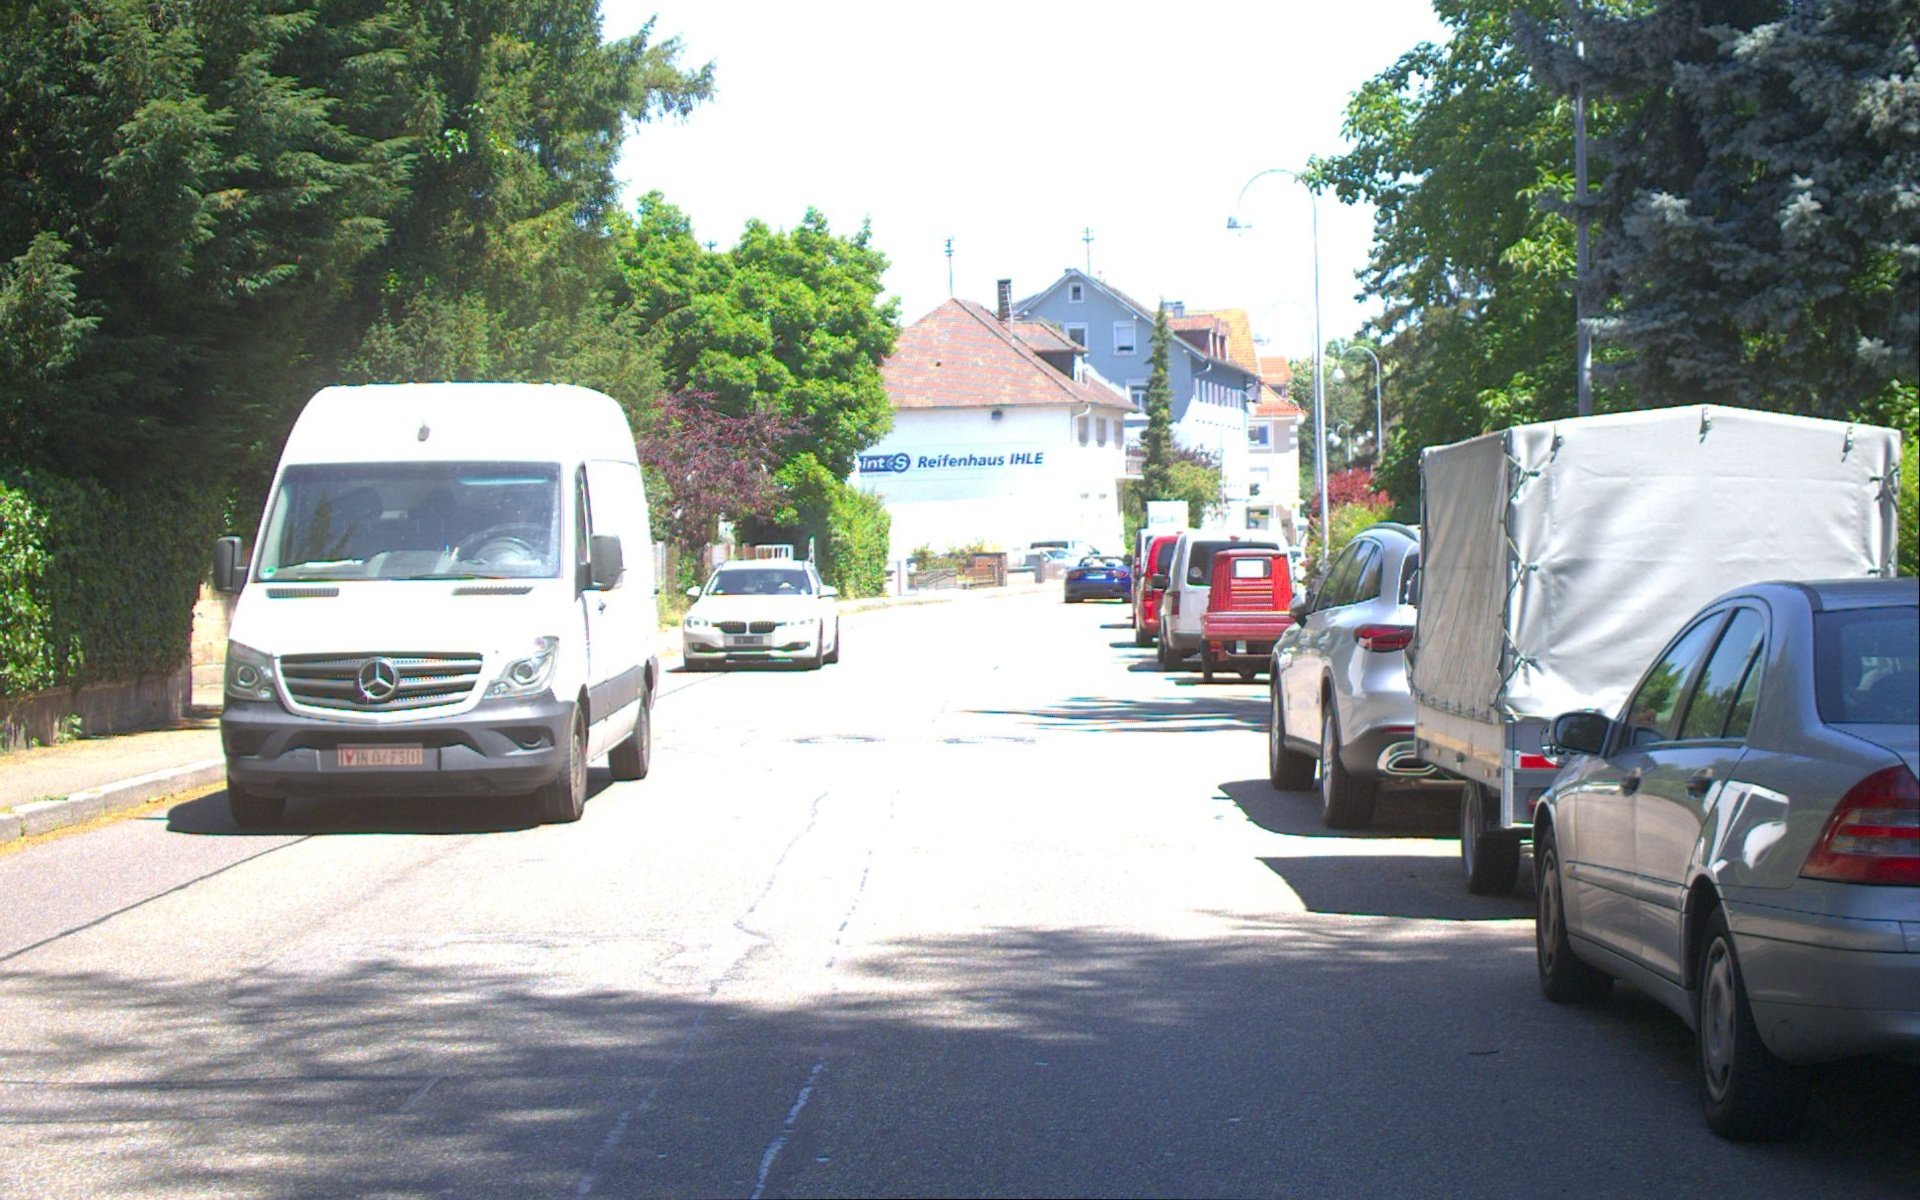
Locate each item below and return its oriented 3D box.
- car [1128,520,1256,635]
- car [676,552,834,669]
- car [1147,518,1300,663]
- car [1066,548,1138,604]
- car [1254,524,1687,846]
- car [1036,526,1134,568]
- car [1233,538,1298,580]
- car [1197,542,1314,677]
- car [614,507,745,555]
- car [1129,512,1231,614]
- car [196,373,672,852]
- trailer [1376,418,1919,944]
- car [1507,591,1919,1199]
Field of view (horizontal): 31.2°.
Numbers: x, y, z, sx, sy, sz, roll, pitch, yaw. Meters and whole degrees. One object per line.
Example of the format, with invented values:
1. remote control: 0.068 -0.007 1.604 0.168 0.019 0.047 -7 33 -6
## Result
1. car: 3.630 -0.376 54.377 1.903 1.722 4.391 1 1 3
2. car: -2.690 0.103 46.090 1.864 1.379 4.605 -2 1 -1
3. car: 3.363 -0.156 44.607 1.746 1.776 4.543 0 1 2
4. car: 3.987 -0.697 95.894 1.794 1.505 3.999 1 1 5
5. car: 2.818 0.388 19.955 1.771 1.626 4.605 0 1 0
6. car: 5.466 -2.312 150.555 4.130 1.768 1.828 0 2 7
7. car: 10.577 -1.436 118.831 1.779 1.401 4.284 1 1 11
8. car: 3.393 0.086 39.735 1.261 1.490 2.709 1 1 3
9. car: -8.802 -2.169 107.991 3.987 1.505 1.800 0 1 -1
10. car: 4.322 -0.761 67.994 1.903 1.918 4.718 -1 1 3
11. car: -3.067 0.003 21.373 1.993 2.524 5.895 -1 1 0
12. trailer: 2.955 0.275 15.408 1.680 2.061 3.708 0 1 0
13. car: 2.687 0.693 9.739 1.614 1.391 4.259 0 1 0
